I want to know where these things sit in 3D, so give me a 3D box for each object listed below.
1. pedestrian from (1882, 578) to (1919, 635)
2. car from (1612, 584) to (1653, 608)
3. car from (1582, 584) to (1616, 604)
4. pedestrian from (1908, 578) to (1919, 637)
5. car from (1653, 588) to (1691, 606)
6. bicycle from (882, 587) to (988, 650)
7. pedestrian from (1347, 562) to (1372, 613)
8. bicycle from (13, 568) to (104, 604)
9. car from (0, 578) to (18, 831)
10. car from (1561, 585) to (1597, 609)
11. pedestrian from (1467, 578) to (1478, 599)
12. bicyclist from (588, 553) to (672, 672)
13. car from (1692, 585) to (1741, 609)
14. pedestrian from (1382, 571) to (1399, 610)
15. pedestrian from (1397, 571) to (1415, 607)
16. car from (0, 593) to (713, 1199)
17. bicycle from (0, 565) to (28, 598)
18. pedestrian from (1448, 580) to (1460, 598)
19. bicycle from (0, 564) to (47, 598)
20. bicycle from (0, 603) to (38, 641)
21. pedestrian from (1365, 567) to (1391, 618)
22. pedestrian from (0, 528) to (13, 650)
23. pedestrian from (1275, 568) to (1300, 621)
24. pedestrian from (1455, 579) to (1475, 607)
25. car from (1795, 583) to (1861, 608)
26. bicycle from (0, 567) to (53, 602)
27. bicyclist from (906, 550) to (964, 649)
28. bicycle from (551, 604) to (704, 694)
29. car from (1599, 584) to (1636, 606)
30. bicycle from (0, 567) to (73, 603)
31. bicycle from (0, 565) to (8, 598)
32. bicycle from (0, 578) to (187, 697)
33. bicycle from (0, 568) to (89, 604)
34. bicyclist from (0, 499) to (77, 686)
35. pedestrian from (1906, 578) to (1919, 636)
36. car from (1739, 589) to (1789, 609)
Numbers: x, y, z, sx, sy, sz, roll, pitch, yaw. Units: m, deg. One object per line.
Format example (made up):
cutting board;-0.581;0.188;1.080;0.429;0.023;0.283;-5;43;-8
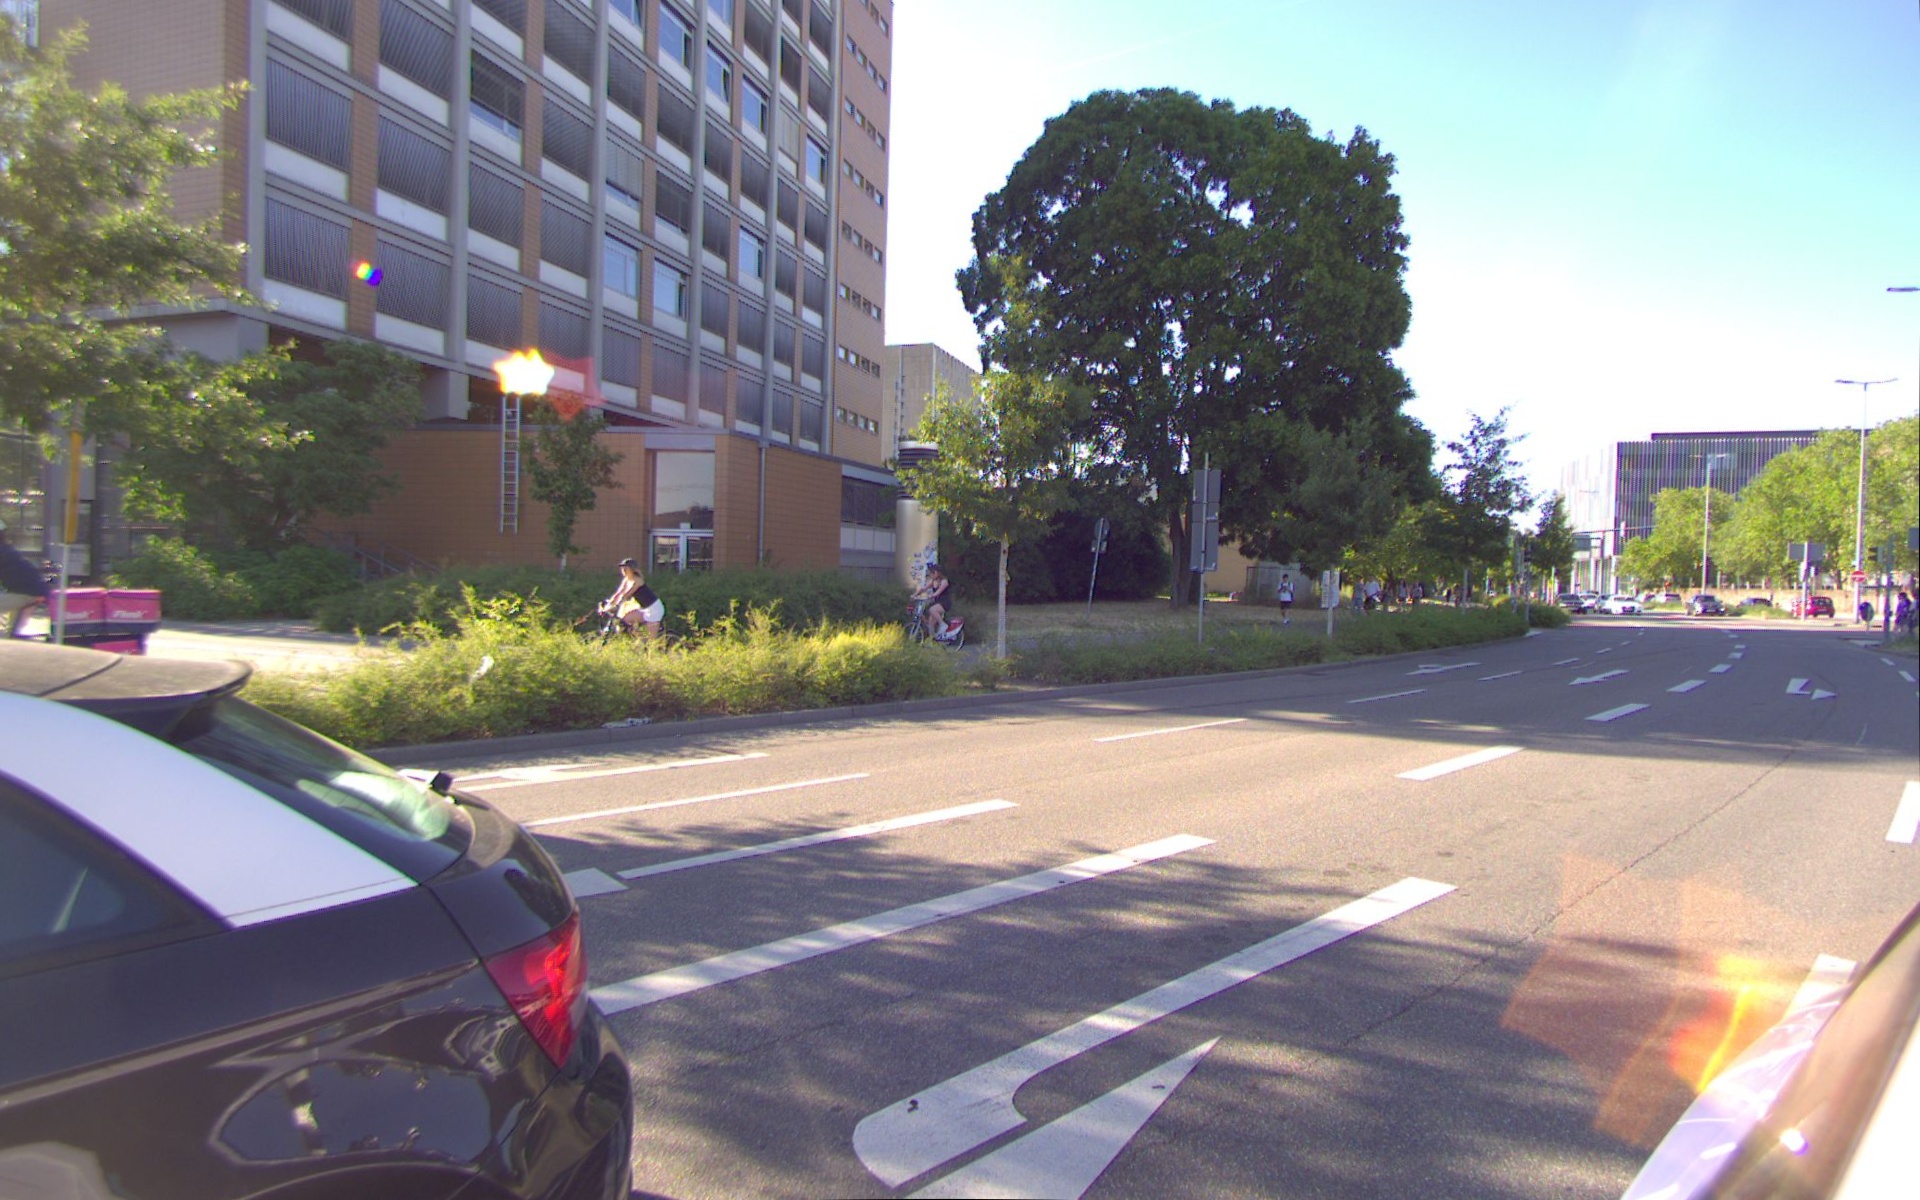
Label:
pedestrian;29.904;0.184;32.068;0.923;1.762;0.746;2;1;39
car;47.421;-0.327;71.415;1.786;1.538;4.391;2;2;26
car;53.076;-0.546;84.133;1.907;1.538;3.981;2;2;26
pedestrian;28.850;0.227;30.036;0.923;1.762;0.746;2;1;39
car;71.318;-0.298;101.373;2.171;1.705;4.570;2;2;24
bicycle;-0.452;0.318;19.128;2.032;1.135;0.718;-1;0;-43
pedestrian;15.005;-0.463;38.040;0.609;1.892;0.578;1;1;-15
bicycle;-22.314;-0.358;25.076;0.522;0.868;1.644;2;2;18
car;-6.990;0.613;4.521;3.905;1.462;1.805;0;0;-38
car;43.897;-0.239;71.862;1.786;1.538;3.964;2;2;26
pedestrian;42.790;-0.933;84.503;0.705;1.734;0.728;2;1;24
bicyclist;-4.524;0.173;13.863;0.834;1.568;0.716;2;-1;-41
car;51.542;-0.248;69.027;1.907;1.538;3.981;2;2;26
pedestrian;18.306;-0.408;43.037;0.616;1.594;0.634;2;1;24
pedestrian;21.389;-0.530;48.560;0.667;1.725;0.872;2;1;18
car;-2.452;0.727;1.057;3.912;1.462;1.802;0;0;-44
bicycle;-25.490;-0.483;26.426;0.522;0.868;1.644;2;2;18
pedestrian;42.983;-0.981;88.031;0.753;1.562;0.842;2;1;18
bicycle;-24.809;-0.496;26.237;0.522;0.868;1.644;2;2;18
bicycle;-14.526;0.329;14.909;0.428;0.546;1.340;4;2;35
pedestrian;15.491;-0.281;37.499;0.609;1.892;0.578;1;1;-15
pedestrian;-13.552;-0.149;13.746;0.774;1.680;0.810;0;-1;-24
pedestrian;10.862;-0.184;33.544;0.618;1.720;0.623;2;1;32
pedestrian;33.043;-0.440;66.232;1.005;1.771;0.845;2;1;18
car;58.908;-0.334;68.757;2.173;1.605;4.568;2;2;25
bicycle;-24.001;-0.395;25.534;0.522;0.868;1.644;2;2;18
bicyclist;-0.477;-0.020;19.112;0.835;1.810;0.716;0;0;-43
bicycle;-4.532;0.651;13.866;1.836;1.135;0.718;2;-1;-41
car;50.591;-0.418;77.965;1.907;1.538;3.981;2;2;26
bicycle;-23.388;-0.379;25.423;0.522;0.868;1.644;2;2;18
bicycle;-26.133;-0.490;26.549;0.522;0.868;1.644;2;2;18
bicycle;-9.626;0.366;10.475;2.531;1.170;0.781;0;2;-34
bicycle;-22.837;-0.362;25.262;0.522;0.868;1.644;2;2;18
bicyclist;-9.790;-0.089;10.330;1.072;1.856;0.781;0;2;-34
pedestrian;29.386;0.219;30.674;0.923;1.762;0.746;2;1;39
car;67.983;-0.097;85.656;2.172;1.605;4.569;2;2;24
